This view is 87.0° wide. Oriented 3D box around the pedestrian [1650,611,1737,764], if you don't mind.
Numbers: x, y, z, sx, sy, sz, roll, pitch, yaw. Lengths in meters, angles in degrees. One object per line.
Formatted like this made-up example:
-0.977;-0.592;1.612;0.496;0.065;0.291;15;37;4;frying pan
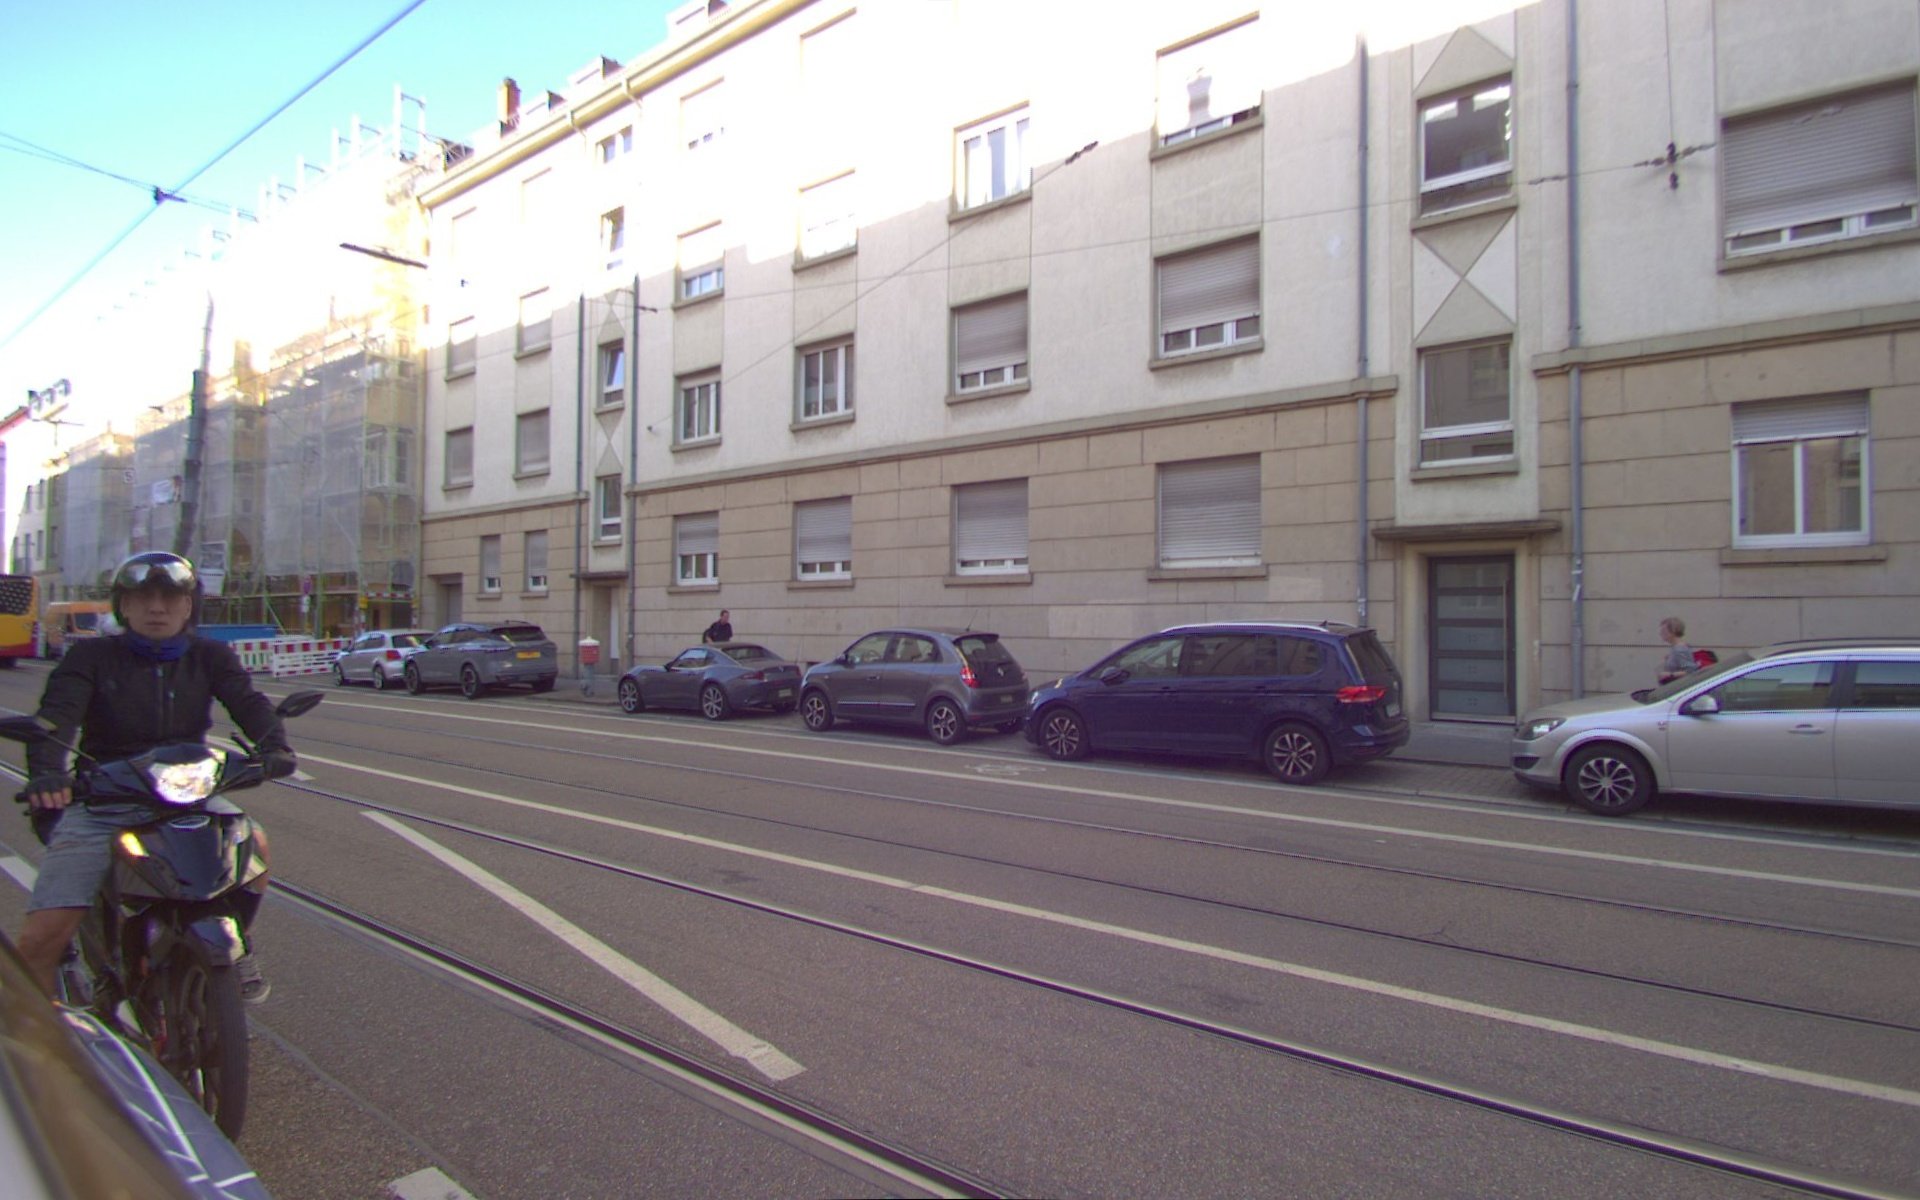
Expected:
7.781;0.906;10.737;0.693;1.553;0.563;-2;-3;39;pedestrian

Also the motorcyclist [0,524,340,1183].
-2.540;0.659;3.146;0.899;1.668;0.781;-2;-3;41;motorcyclist

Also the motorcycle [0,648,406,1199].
-2.637;0.820;3.223;2.272;1.302;0.781;-2;-3;41;motorcycle

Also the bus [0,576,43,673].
-38.752;0.952;38.112;19.130;3.137;2.722;-1;-3;37;bus

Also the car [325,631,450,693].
-14.384;1.506;25.382;3.506;1.423;1.524;-1;-2;38;car

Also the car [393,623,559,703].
-10.882;1.341;22.645;4.201;1.611;1.675;-1;-2;38;car

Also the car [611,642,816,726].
-4.313;1.372;17.486;3.681;1.244;1.502;-1;-1;38;car

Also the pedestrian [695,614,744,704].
-4.759;1.155;20.035;0.729;1.722;0.597;-2;-3;39;pedestrian

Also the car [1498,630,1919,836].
7.128;1.007;8.489;4.383;1.489;1.779;-1;-1;38;car

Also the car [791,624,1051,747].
-0.627;1.139;14.641;3.535;1.539;1.659;-1;-2;38;car

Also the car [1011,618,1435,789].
2.894;1.037;11.663;4.383;1.611;1.779;-1;-1;38;car
